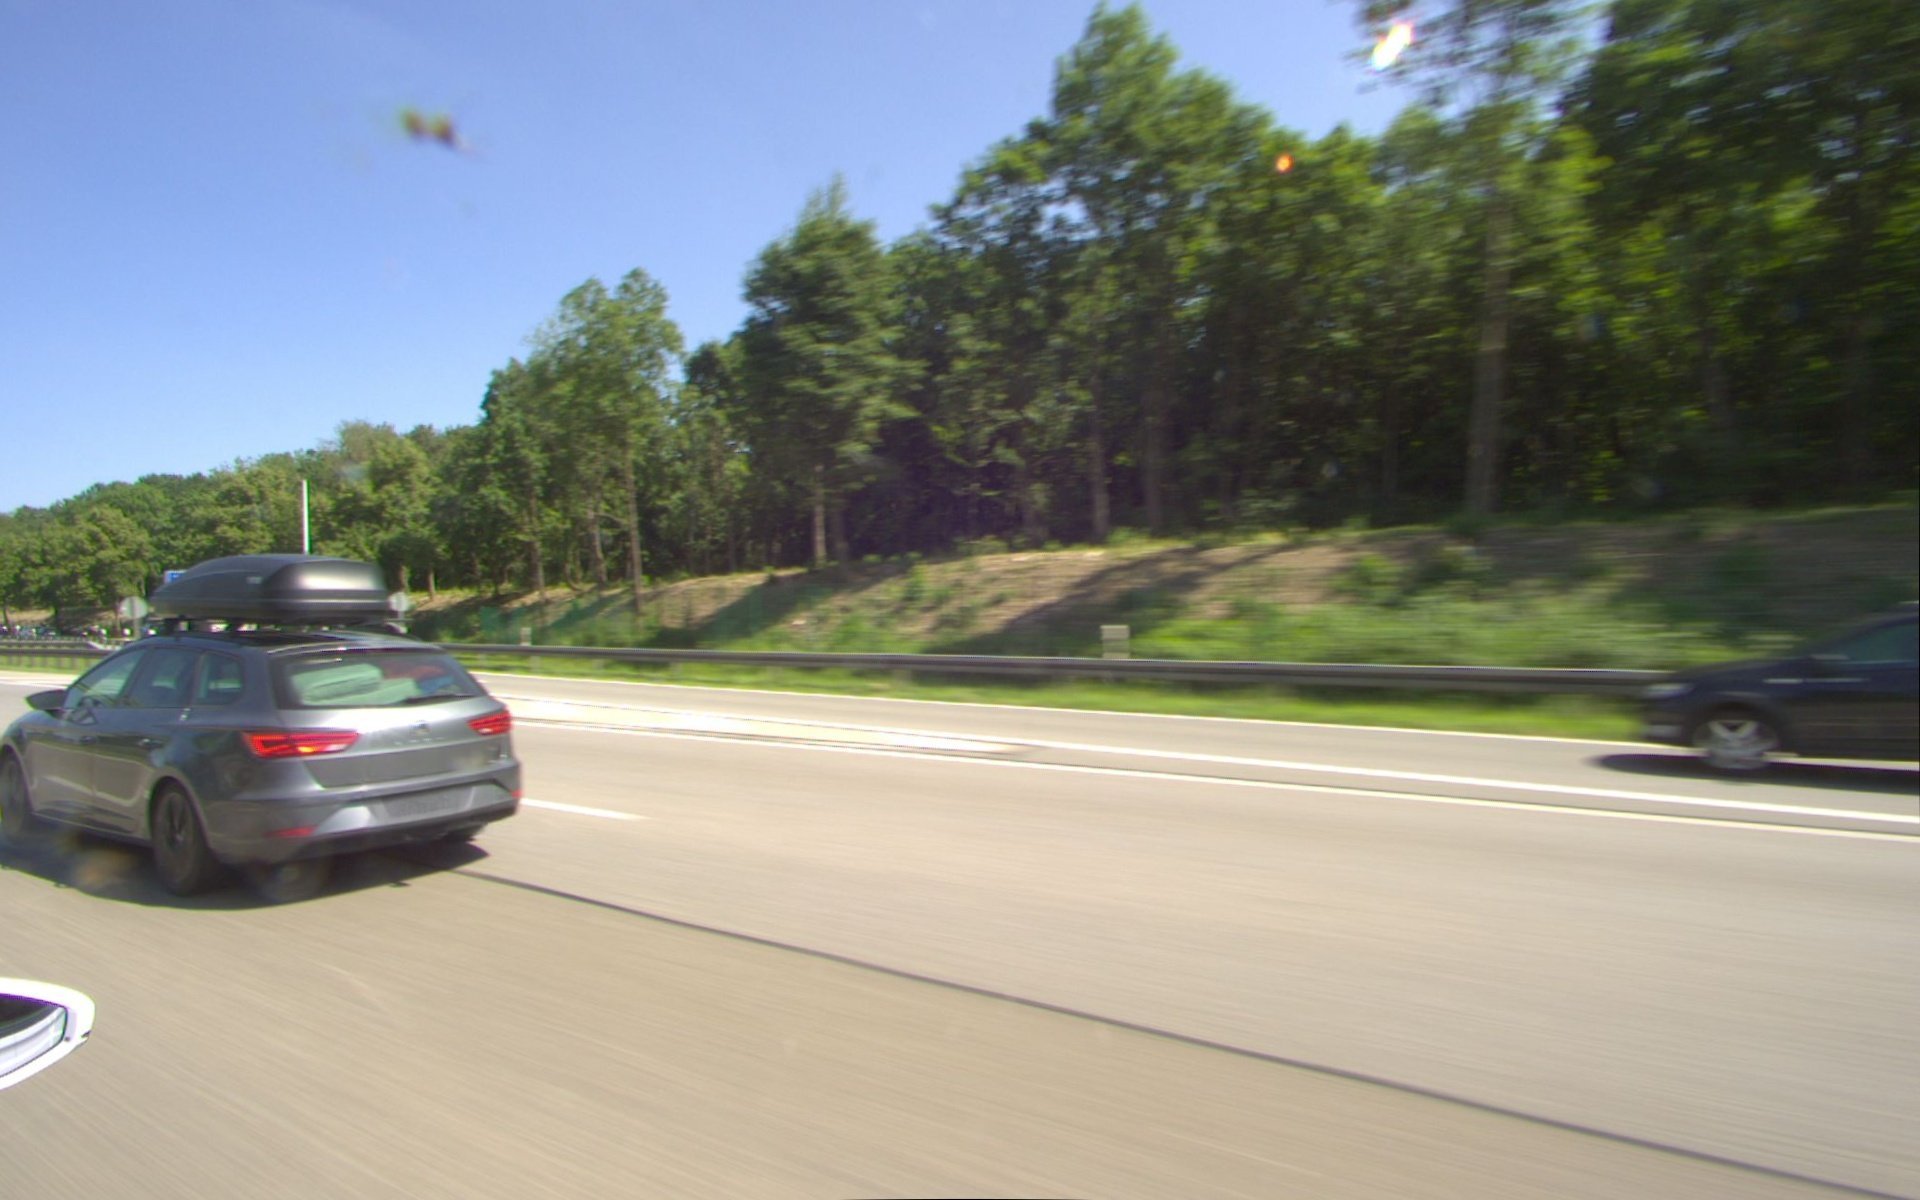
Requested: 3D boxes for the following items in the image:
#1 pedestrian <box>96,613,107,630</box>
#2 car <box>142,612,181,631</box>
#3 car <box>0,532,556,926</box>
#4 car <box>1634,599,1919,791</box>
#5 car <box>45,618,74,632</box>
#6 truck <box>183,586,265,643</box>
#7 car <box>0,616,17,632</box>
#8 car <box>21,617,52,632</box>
[{"bbox_3d":[-91.843,2.294,107.092,0.793,1.806,0.636,-1,1,-45],"label":"pedestrian"},{"bbox_3d":[-72.305,1.938,90.651,4.269,1.673,1.984,-1,0,41],"label":"car"},{"bbox_3d":[-4.981,0.635,6.792,4.758,1.901,1.661,-1,1,32],"label":"car"},{"bbox_3d":[8.604,0.811,8.942,4.205,1.588,1.759,-1,-2,38],"label":"car"},{"bbox_3d":[-102.434,2.827,113.904,3.954,1.594,1.984,-1,-1,41],"label":"car"},{"bbox_3d":[-54.908,1.034,74.603,9.250,3.999,3.267,-1,0,43],"label":"truck"},{"bbox_3d":[-116.377,2.954,121.754,4.738,1.901,1.650,-1,-1,37],"label":"car"},{"bbox_3d":[-107.949,2.865,117.066,4.587,1.697,1.652,-1,-1,33],"label":"car"}]
